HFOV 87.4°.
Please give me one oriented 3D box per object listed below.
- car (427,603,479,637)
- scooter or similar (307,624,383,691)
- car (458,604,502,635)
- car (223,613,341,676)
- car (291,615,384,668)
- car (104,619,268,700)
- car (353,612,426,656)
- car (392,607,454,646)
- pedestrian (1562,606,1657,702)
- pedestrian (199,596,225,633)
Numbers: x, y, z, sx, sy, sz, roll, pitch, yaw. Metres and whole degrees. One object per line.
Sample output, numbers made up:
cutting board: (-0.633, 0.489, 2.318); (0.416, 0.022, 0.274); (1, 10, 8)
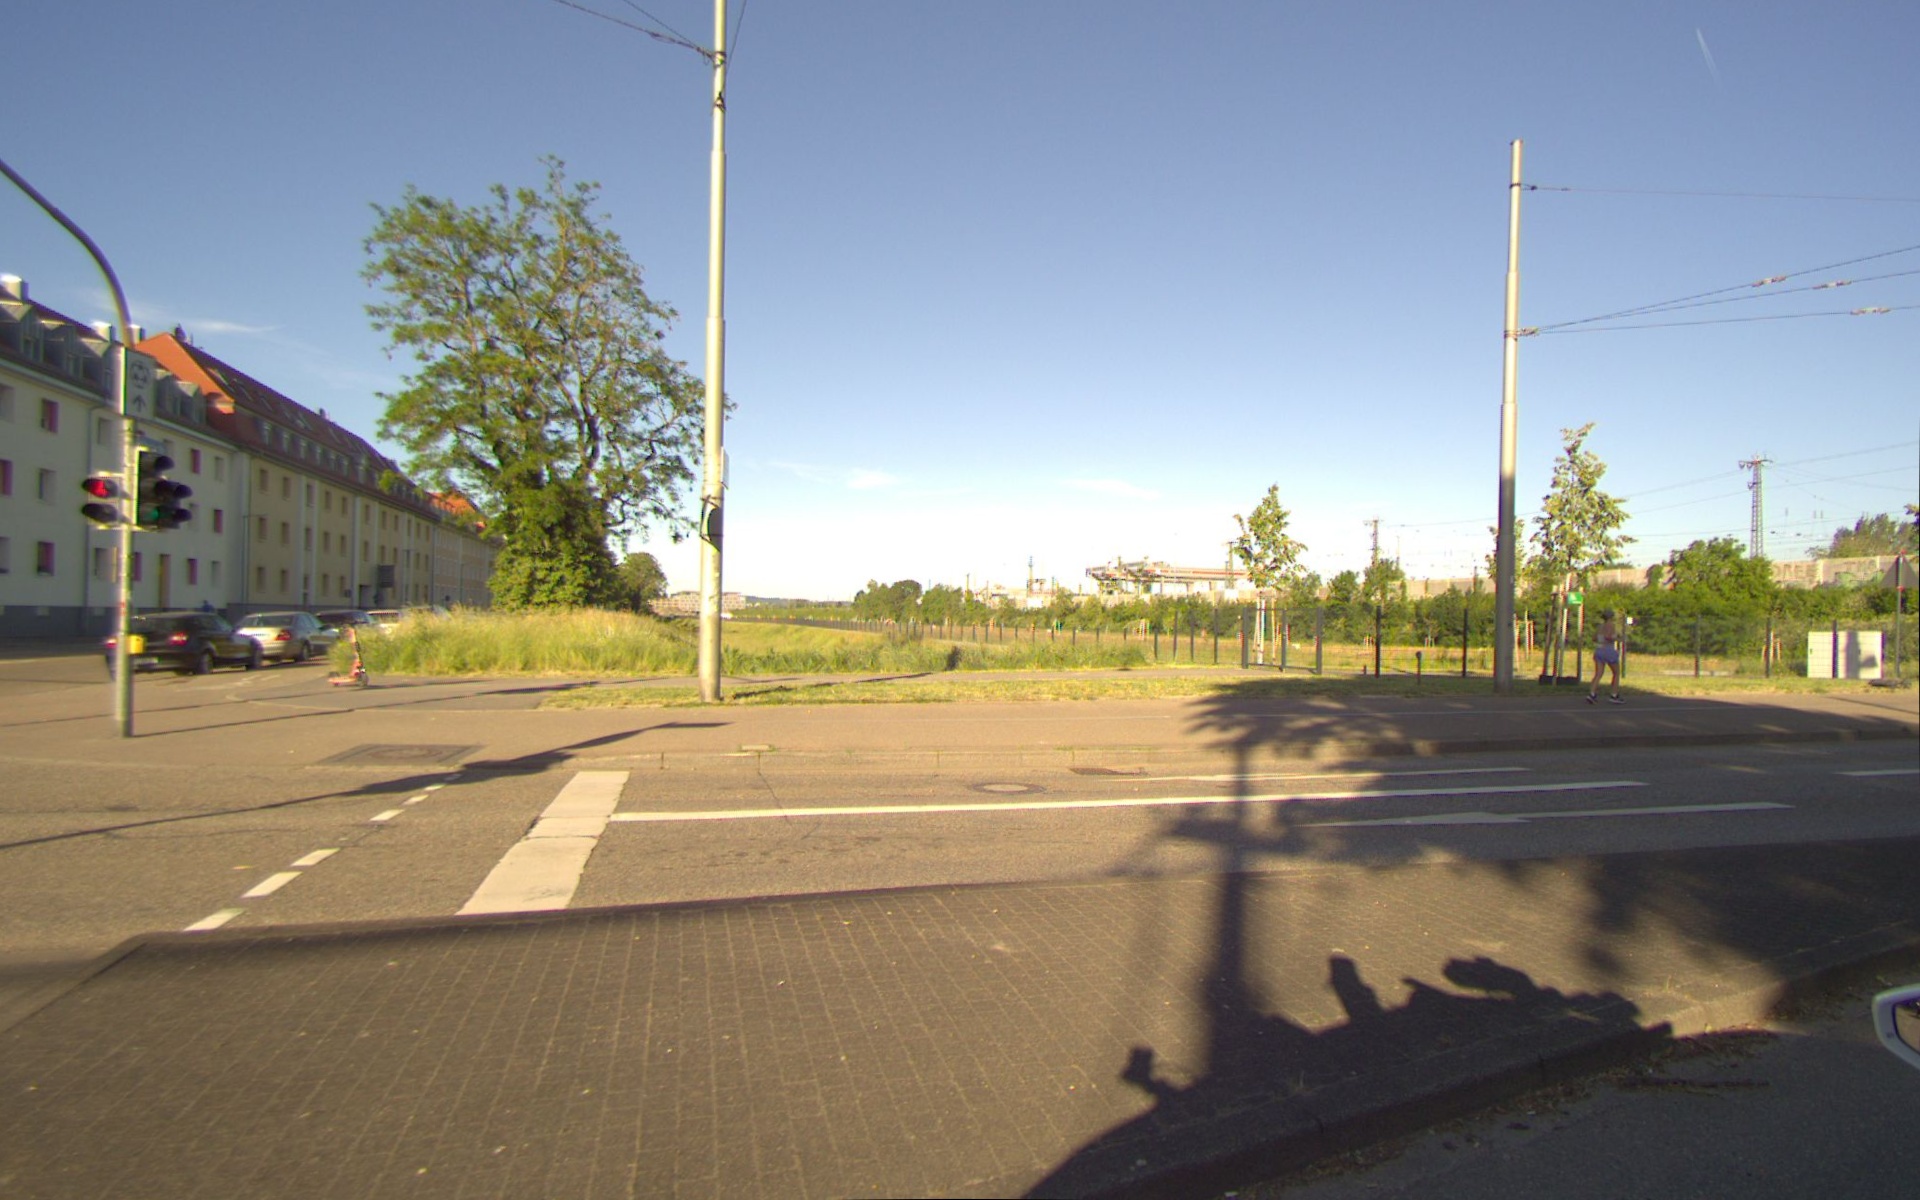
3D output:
car: (-24.919, 0.977, 49.459); (1.674, 1.550, 3.886); (-2, 0, -18)
scooter or similar: (-11.246, 1.055, 18.372); (1.243, 1.159, 0.595); (-4, -3, 25)
car: (-26.186, 1.052, 54.882); (1.674, 1.550, 3.886); (-2, 0, -18)
car: (-18.744, 1.177, 27.936); (1.674, 1.550, 3.886); (-2, 0, -18)
car: (-20.331, 1.301, 32.980); (1.674, 1.550, 3.886); (-2, 0, -18)
car: (-17.160, 1.246, 22.499); (1.674, 1.550, 3.886); (-2, 0, -18)
car: (-21.830, 1.268, 38.573); (1.674, 1.550, 3.886); (-2, 0, -18)
car: (-23.363, 1.117, 43.801); (1.674, 1.550, 3.886); (-2, 0, -18)
pedestrian: (11.579, 0.942, 17.926); (1.160, 1.651, 0.833); (0, 2, -13)
pedestrian: (-39.656, 0.774, 53.254); (0.729, 1.898, 0.742); (6, 0, -18)
